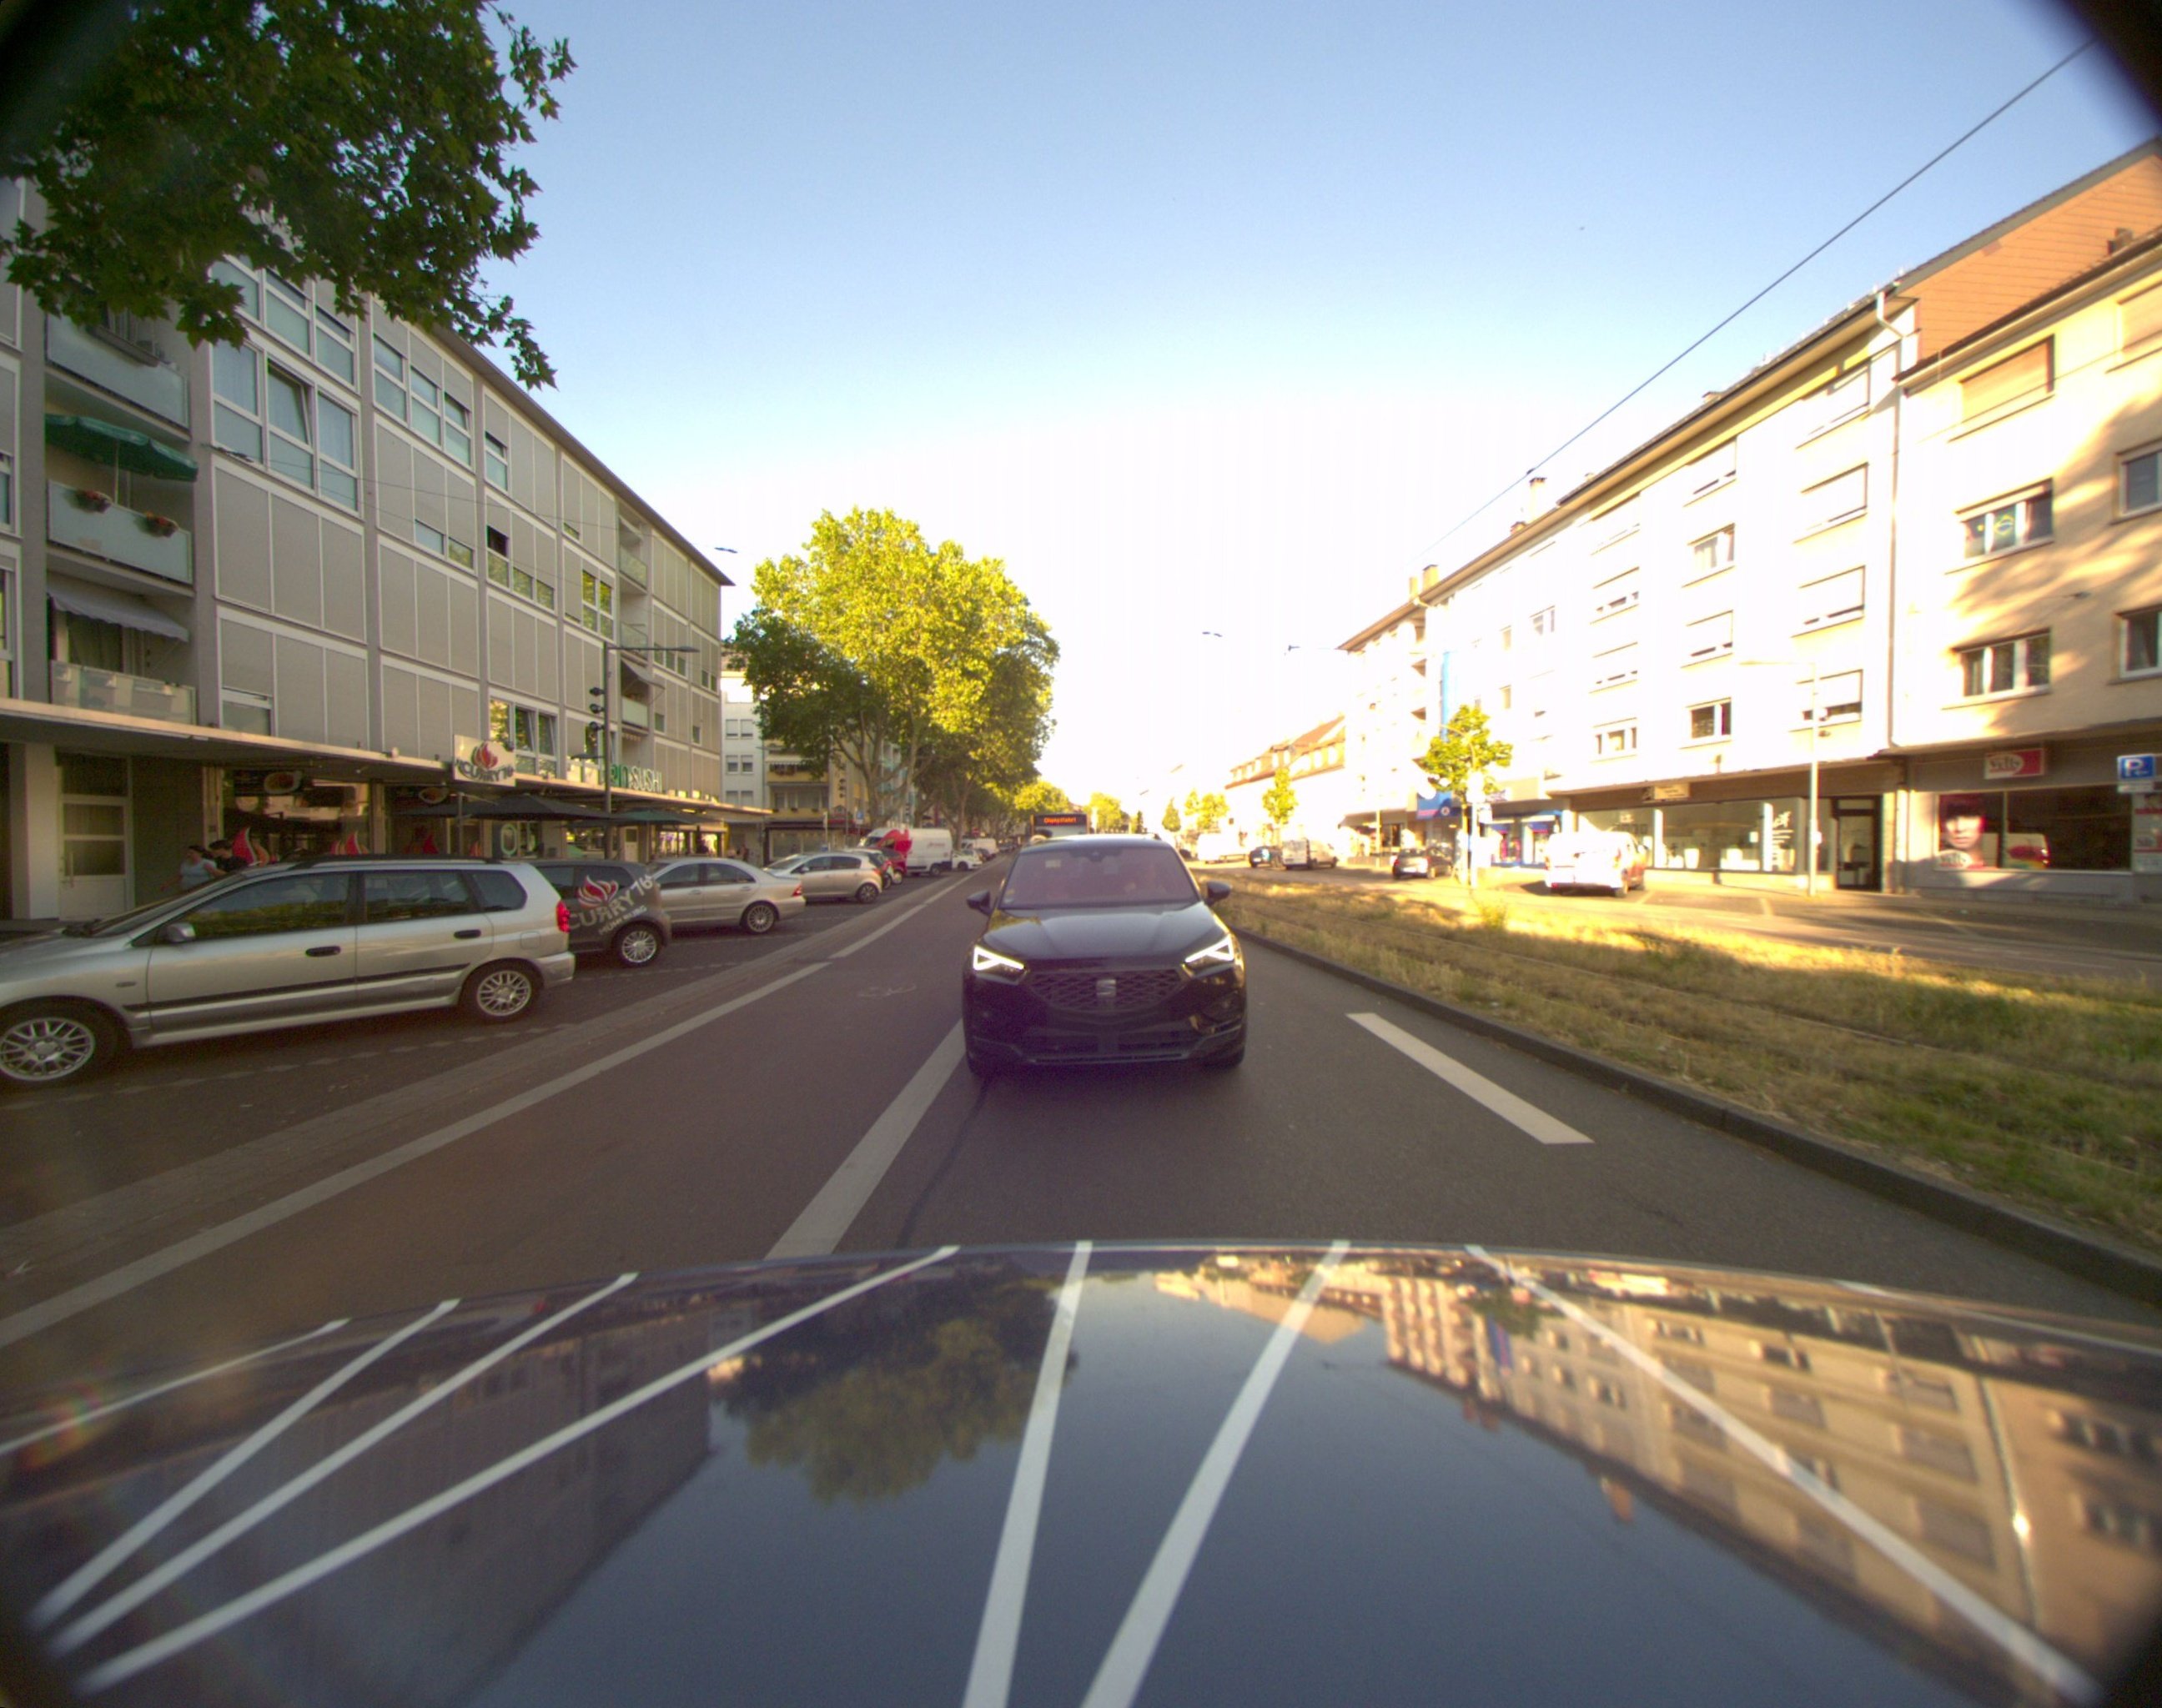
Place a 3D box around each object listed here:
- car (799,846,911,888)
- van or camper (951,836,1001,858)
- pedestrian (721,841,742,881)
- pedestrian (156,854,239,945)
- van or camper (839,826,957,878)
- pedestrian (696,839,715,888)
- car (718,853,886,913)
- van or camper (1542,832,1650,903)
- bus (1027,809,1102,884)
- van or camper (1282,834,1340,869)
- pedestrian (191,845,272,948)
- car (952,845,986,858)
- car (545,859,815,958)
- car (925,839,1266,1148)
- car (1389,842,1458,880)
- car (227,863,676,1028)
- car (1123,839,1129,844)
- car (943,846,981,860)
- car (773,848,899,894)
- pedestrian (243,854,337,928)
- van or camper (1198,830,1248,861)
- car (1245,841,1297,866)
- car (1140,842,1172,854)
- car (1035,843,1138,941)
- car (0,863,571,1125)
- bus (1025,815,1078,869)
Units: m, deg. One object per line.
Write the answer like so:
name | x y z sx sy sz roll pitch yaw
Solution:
car | -9.067 0.458 30.621 4.008 1.555 1.654 -1 2 -44
van or camper | -11.760 -0.800 85.168 1.994 2.455 5.474 1 1 44
pedestrian | -14.089 0.274 30.649 0.538 1.582 0.686 2 1 -5
pedestrian | -14.249 0.716 12.267 0.538 1.393 0.686 2 1 -5
van or camper | -9.076 -0.139 38.016 5.474 2.455 1.994 -1 2 -44
pedestrian | -15.822 0.391 32.058 0.552 2.002 0.576 -3 2 -18
car | -7.589 0.719 20.919 4.008 1.428 1.654 -1 2 -44
van or camper | 15.857 0.335 23.287 1.946 1.887 4.824 -1 2 44
bus | -1.107 -0.498 37.562 2.873 2.962 12.230 -3 2 -5
van or camper | 14.628 -0.184 48.180 1.795 1.978 4.459 -1 2 41
pedestrian | -13.599 0.665 12.182 0.538 1.582 0.686 2 1 -5
car | -11.985 -0.248 81.390 3.337 1.339 1.526 -1 2 -44
car | -7.107 0.860 13.775 1.654 1.428 4.008 3 2 43
car | 0.110 0.740 6.175 1.808 1.638 3.999 -2 1 1
car | 15.658 0.285 34.616 1.765 1.482 4.459 -1 1 39
car | -7.558 0.911 9.488 1.804 1.498 4.008 1 1 38
car | 14.730 -4.108 247.249 1.869 1.832 3.826 0 1 2
car | -11.595 -0.121 74.259 3.337 1.339 1.526 -1 2 -44
car | -8.764 0.558 27.426 4.008 1.514 1.654 -1 2 -44
pedestrian | -15.139 0.681 14.573 0.750 1.354 0.962 0 1 0
van or camper | 12.964 -0.804 68.944 1.994 2.652 6.409 -1 1 34
car | 13.798 -0.041 55.042 1.874 1.577 4.007 -1 1 43
car | 10.246 -0.797 103.578 3.921 1.482 1.766 -3 1 -27
car | 0.084 0.594 14.299 1.659 1.572 3.999 0 1 0
car | -6.918 0.925 6.371 1.804 1.597 4.008 1 1 38
bus | -2.144 -0.875 49.826 2.873 2.962 12.230 -3 2 -5
